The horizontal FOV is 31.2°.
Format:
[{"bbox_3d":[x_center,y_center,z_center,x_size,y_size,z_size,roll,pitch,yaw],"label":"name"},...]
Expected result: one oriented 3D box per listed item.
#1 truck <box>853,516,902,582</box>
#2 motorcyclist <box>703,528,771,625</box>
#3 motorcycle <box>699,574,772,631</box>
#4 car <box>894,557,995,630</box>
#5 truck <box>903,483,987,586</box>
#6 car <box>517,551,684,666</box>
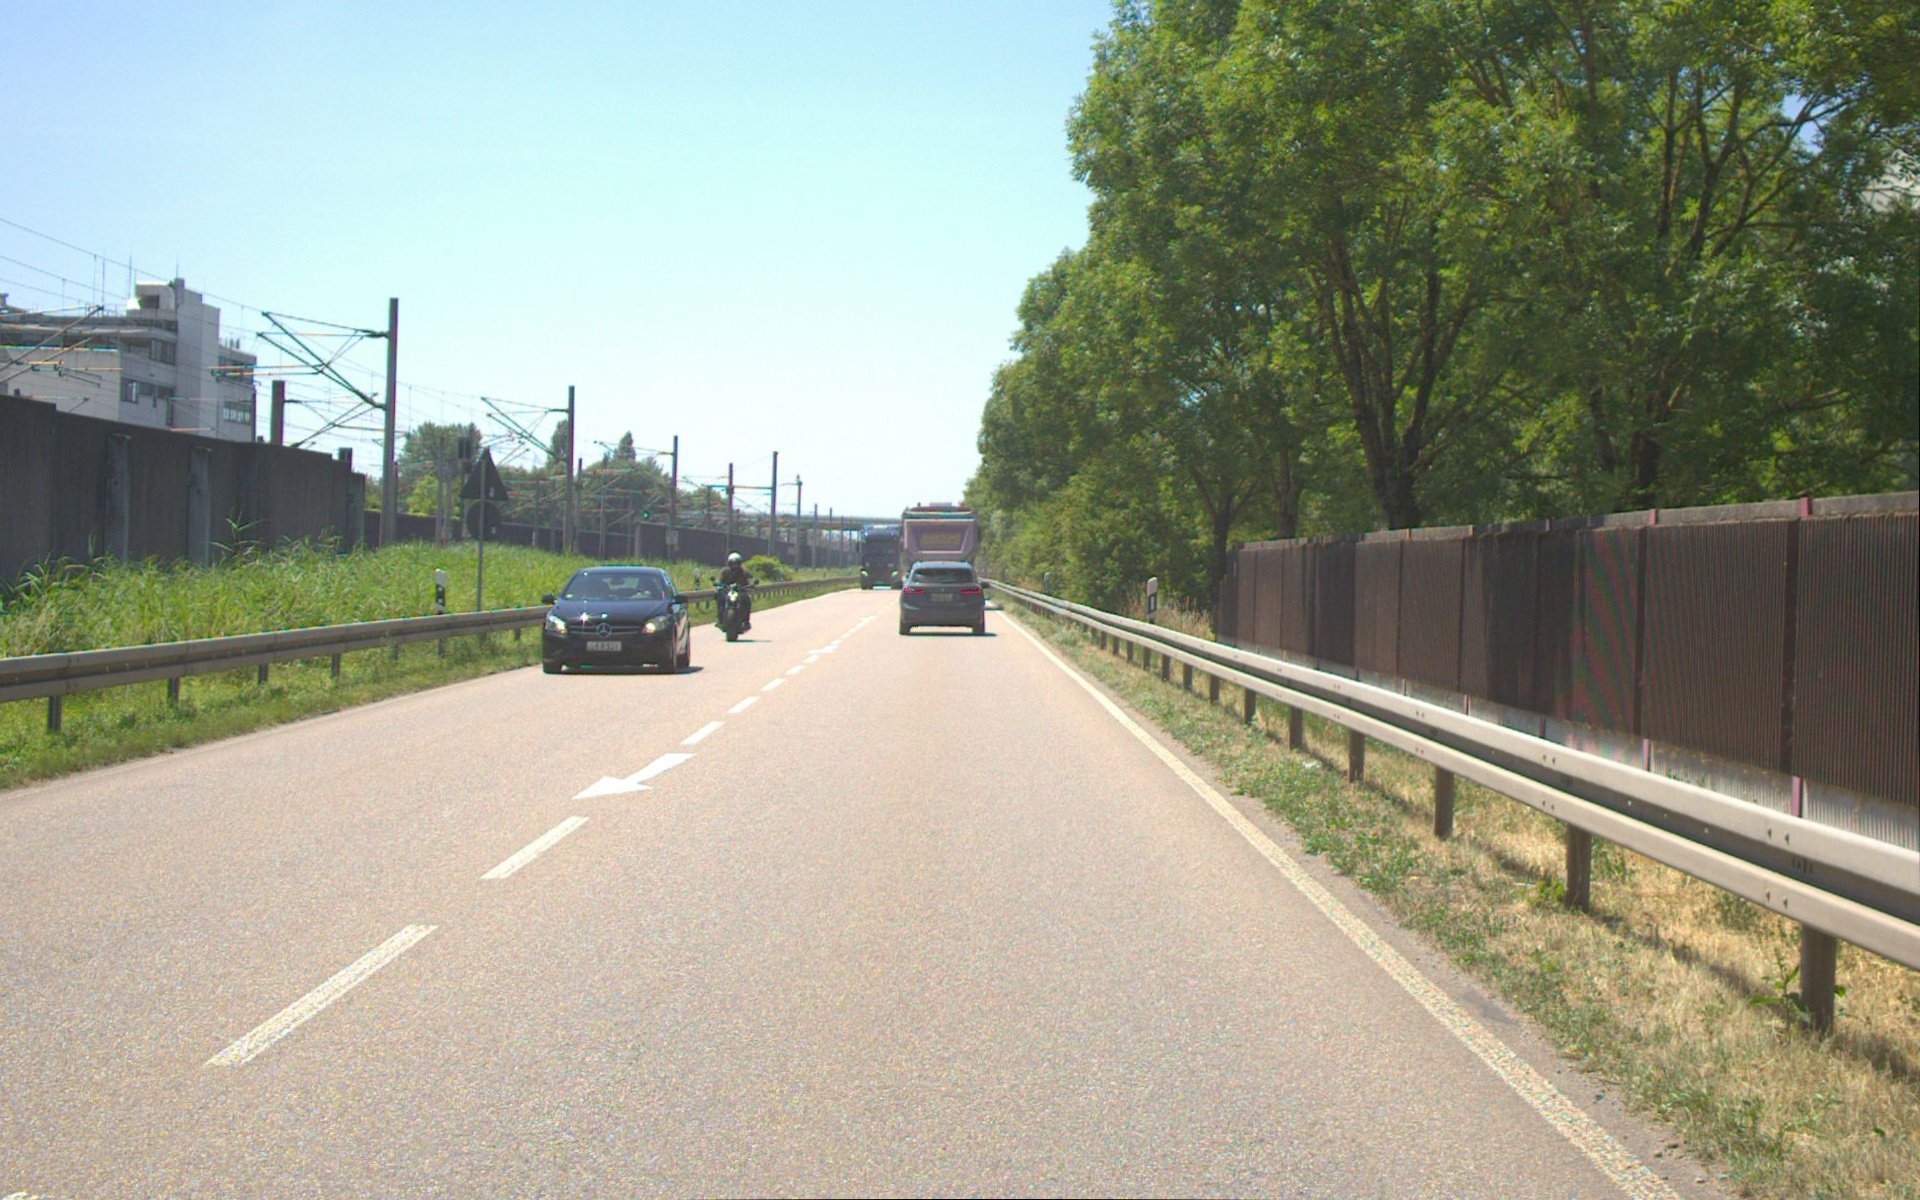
[{"bbox_3d":[-5.252,-3.194,220.489,2.797,3.964,10.500,-2,0,0],"label":"truck"},{"bbox_3d":[-4.347,-0.461,67.107,1.254,1.858,1.245,0,1,-1],"label":"motorcyclist"},{"bbox_3d":[-4.365,0.034,67.144,1.237,1.069,3.129,0,1,-1],"label":"motorcycle"},{"bbox_3d":[-0.362,-0.169,73.565,1.993,1.503,4.000,0,1,-2],"label":"car"},{"bbox_3d":[-0.513,-2.256,120.735,2.770,3.414,10.819,1,0,0],"label":"truck"},{"bbox_3d":[-4.898,0.091,47.352,1.993,1.503,4.000,0,1,-2],"label":"car"}]
